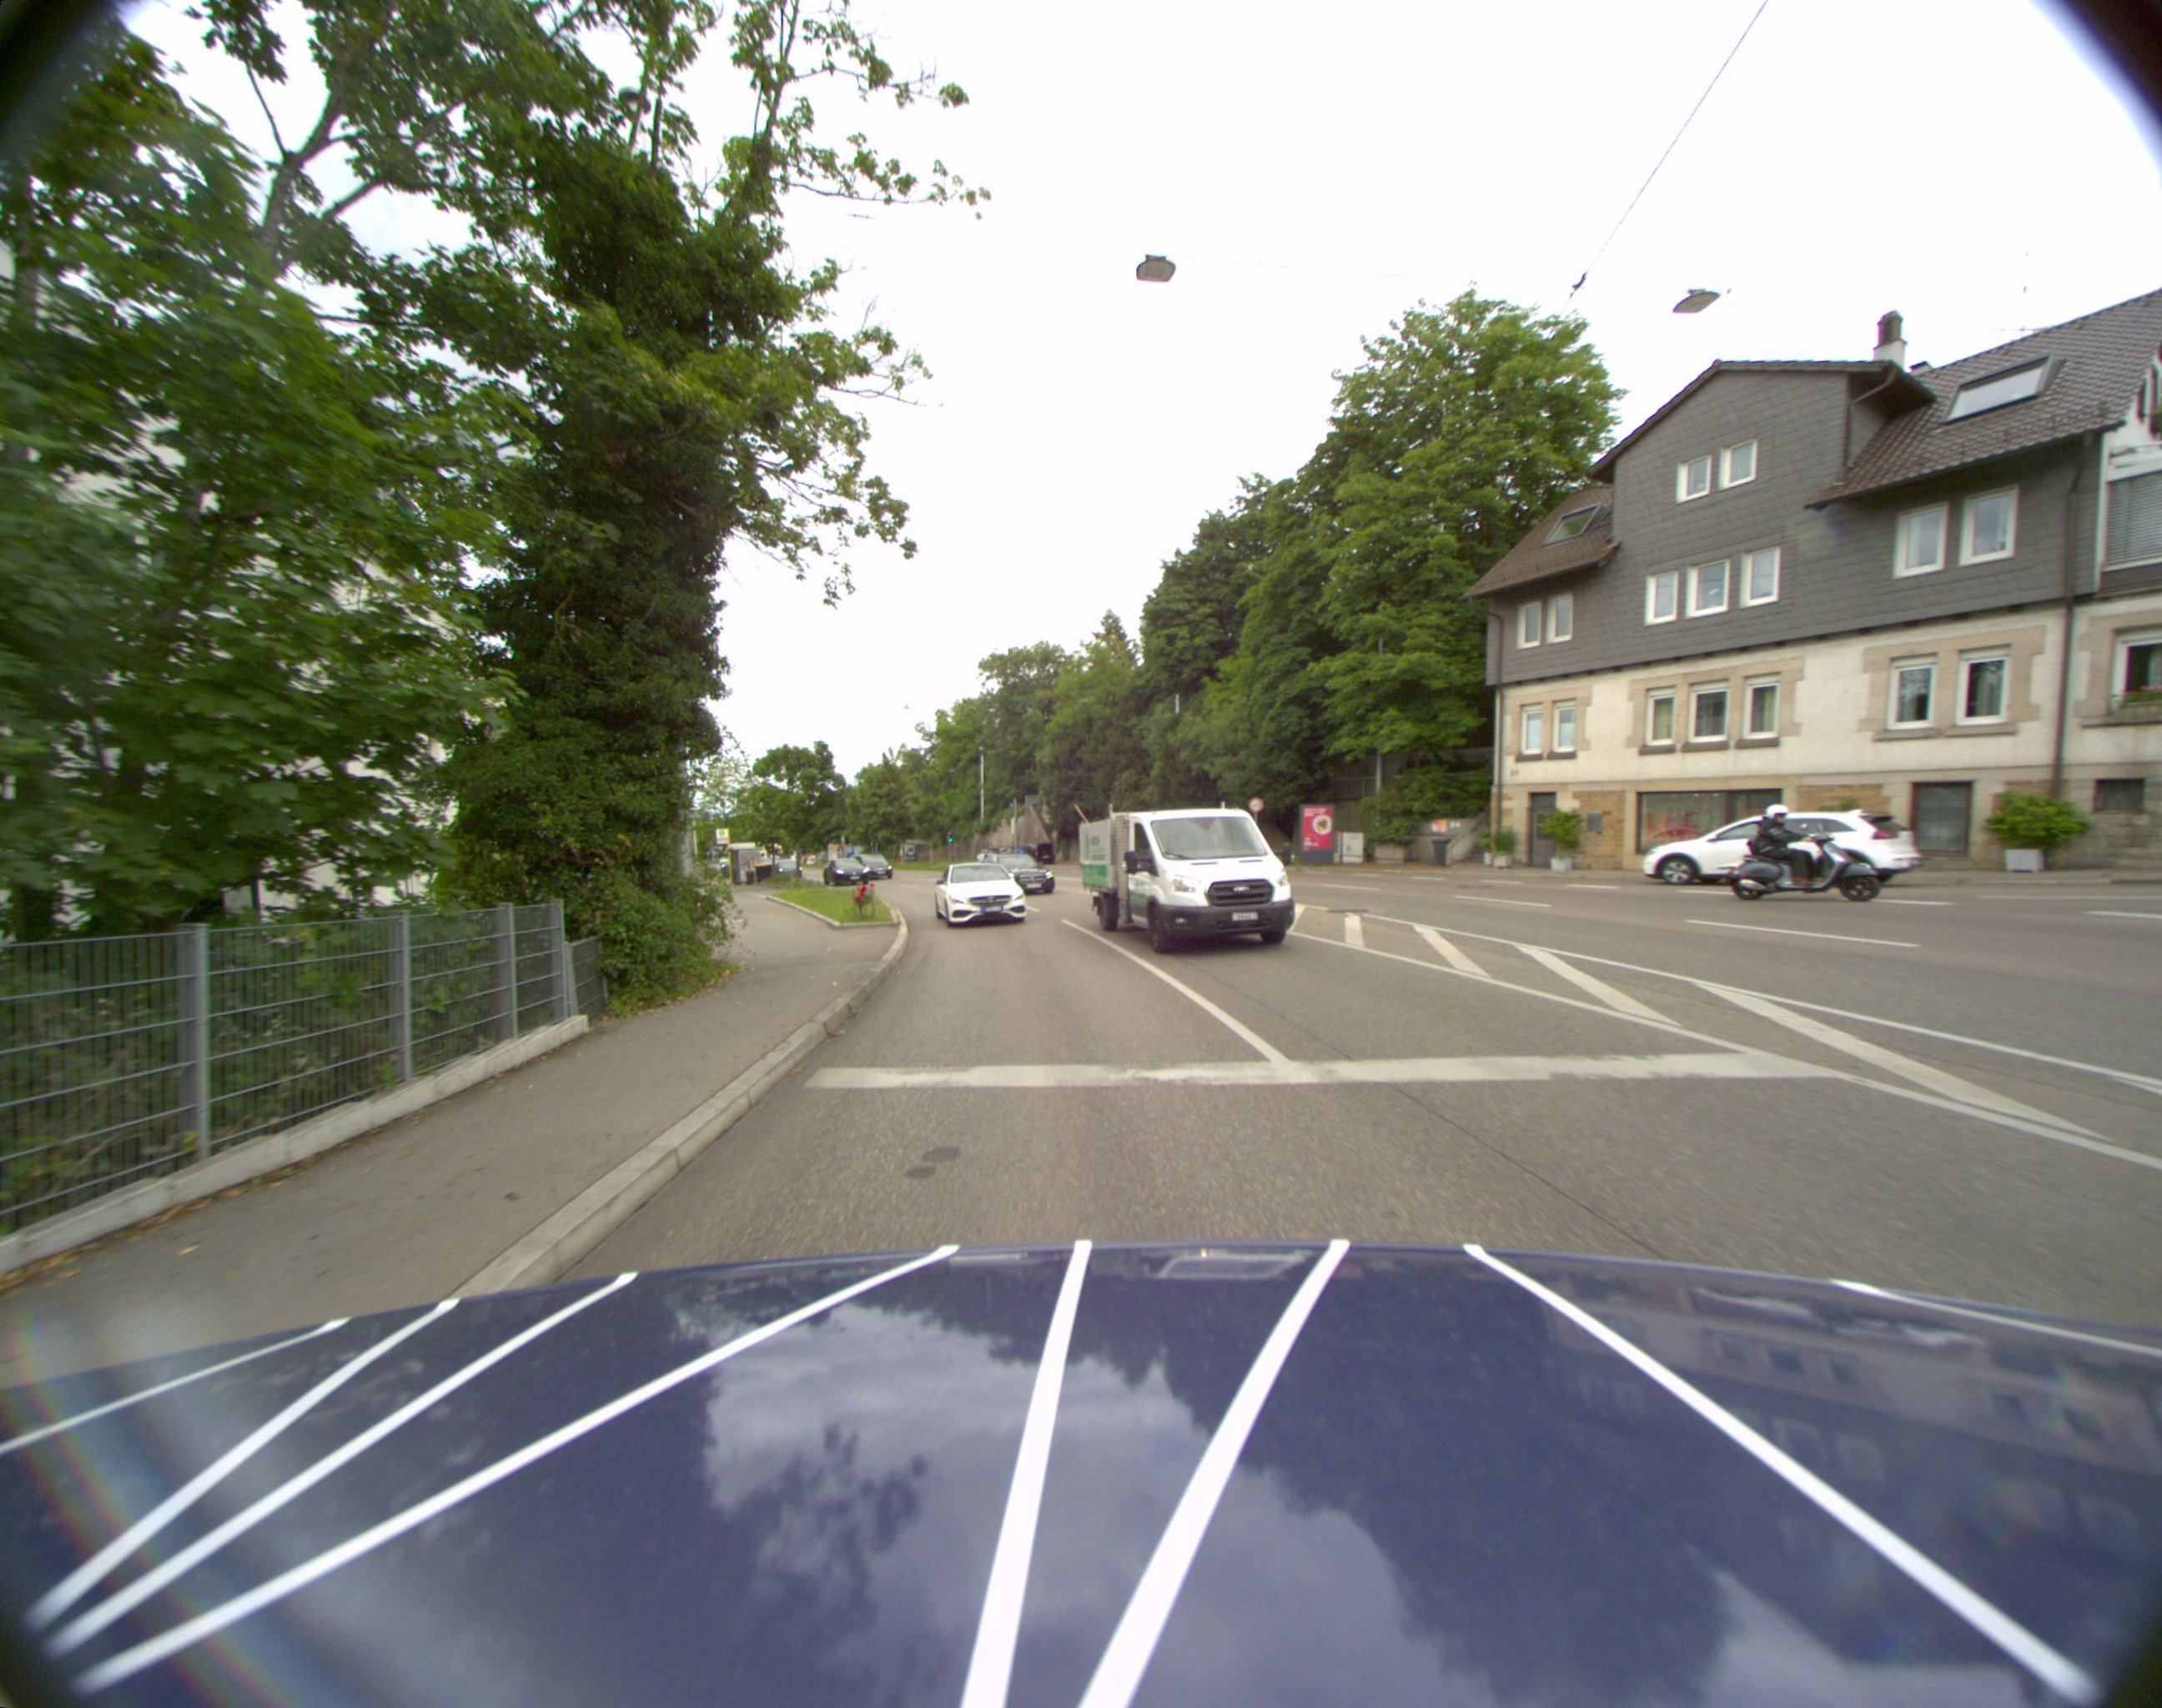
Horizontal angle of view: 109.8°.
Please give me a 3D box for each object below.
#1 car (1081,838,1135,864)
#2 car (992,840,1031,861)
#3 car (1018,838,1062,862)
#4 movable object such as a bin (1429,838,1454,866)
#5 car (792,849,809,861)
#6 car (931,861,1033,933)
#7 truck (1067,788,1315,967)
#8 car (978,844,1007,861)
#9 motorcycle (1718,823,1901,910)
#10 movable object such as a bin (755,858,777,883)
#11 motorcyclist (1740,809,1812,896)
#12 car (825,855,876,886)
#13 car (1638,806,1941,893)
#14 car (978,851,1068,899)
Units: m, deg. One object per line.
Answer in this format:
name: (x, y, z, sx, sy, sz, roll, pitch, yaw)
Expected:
car: (1.767, -0.163, 51.768, 1.788, 1.620, 4.161, -5, 2, -27)
car: (-6.295, -0.319, 68.257, 1.978, 1.647, 4.522, -4, 2, -26)
car: (-3.424, -0.281, 62.616, 1.788, 1.832, 4.478, -5, 2, -27)
movable object such as a bin: (13.325, -0.078, 28.076, 0.540, 1.014, 0.646, -3, 4, -16)
car: (-49.488, 0.232, 134.084, 1.947, 1.946, 5.010, -3, 1, -29)
car: (-2.510, 0.939, 18.454, 1.819, 1.391, 3.994, -3, 1, -16)
truck: (1.484, 0.293, 13.434, 2.082, 2.308, 6.324, -3, 1, -13)
car: (-8.501, -0.160, 72.760, 1.787, 1.490, 3.091, -4, 1, -25)
motorcycle: (12.090, 0.194, 12.685, 0.831, 1.292, 2.041, -5, 3, -31)
movable object such as a bin: (-20.201, 1.052, 48.702, 1.090, 1.473, 1.533, -4, 2, -29)
motorcyclist: (11.831, -0.031, 12.936, 0.685, 1.411, 0.721, -4, 2, -30)
car: (-13.062, 0.928, 42.881, 1.781, 1.533, 3.991, -5, 2, -30)
car: (14.891, -0.089, 16.274, 1.891, 1.559, 4.378, -3, 1, -30)
car: (-2.203, 0.699, 27.677, 1.919, 1.472, 4.392, -4, 1, -22)
